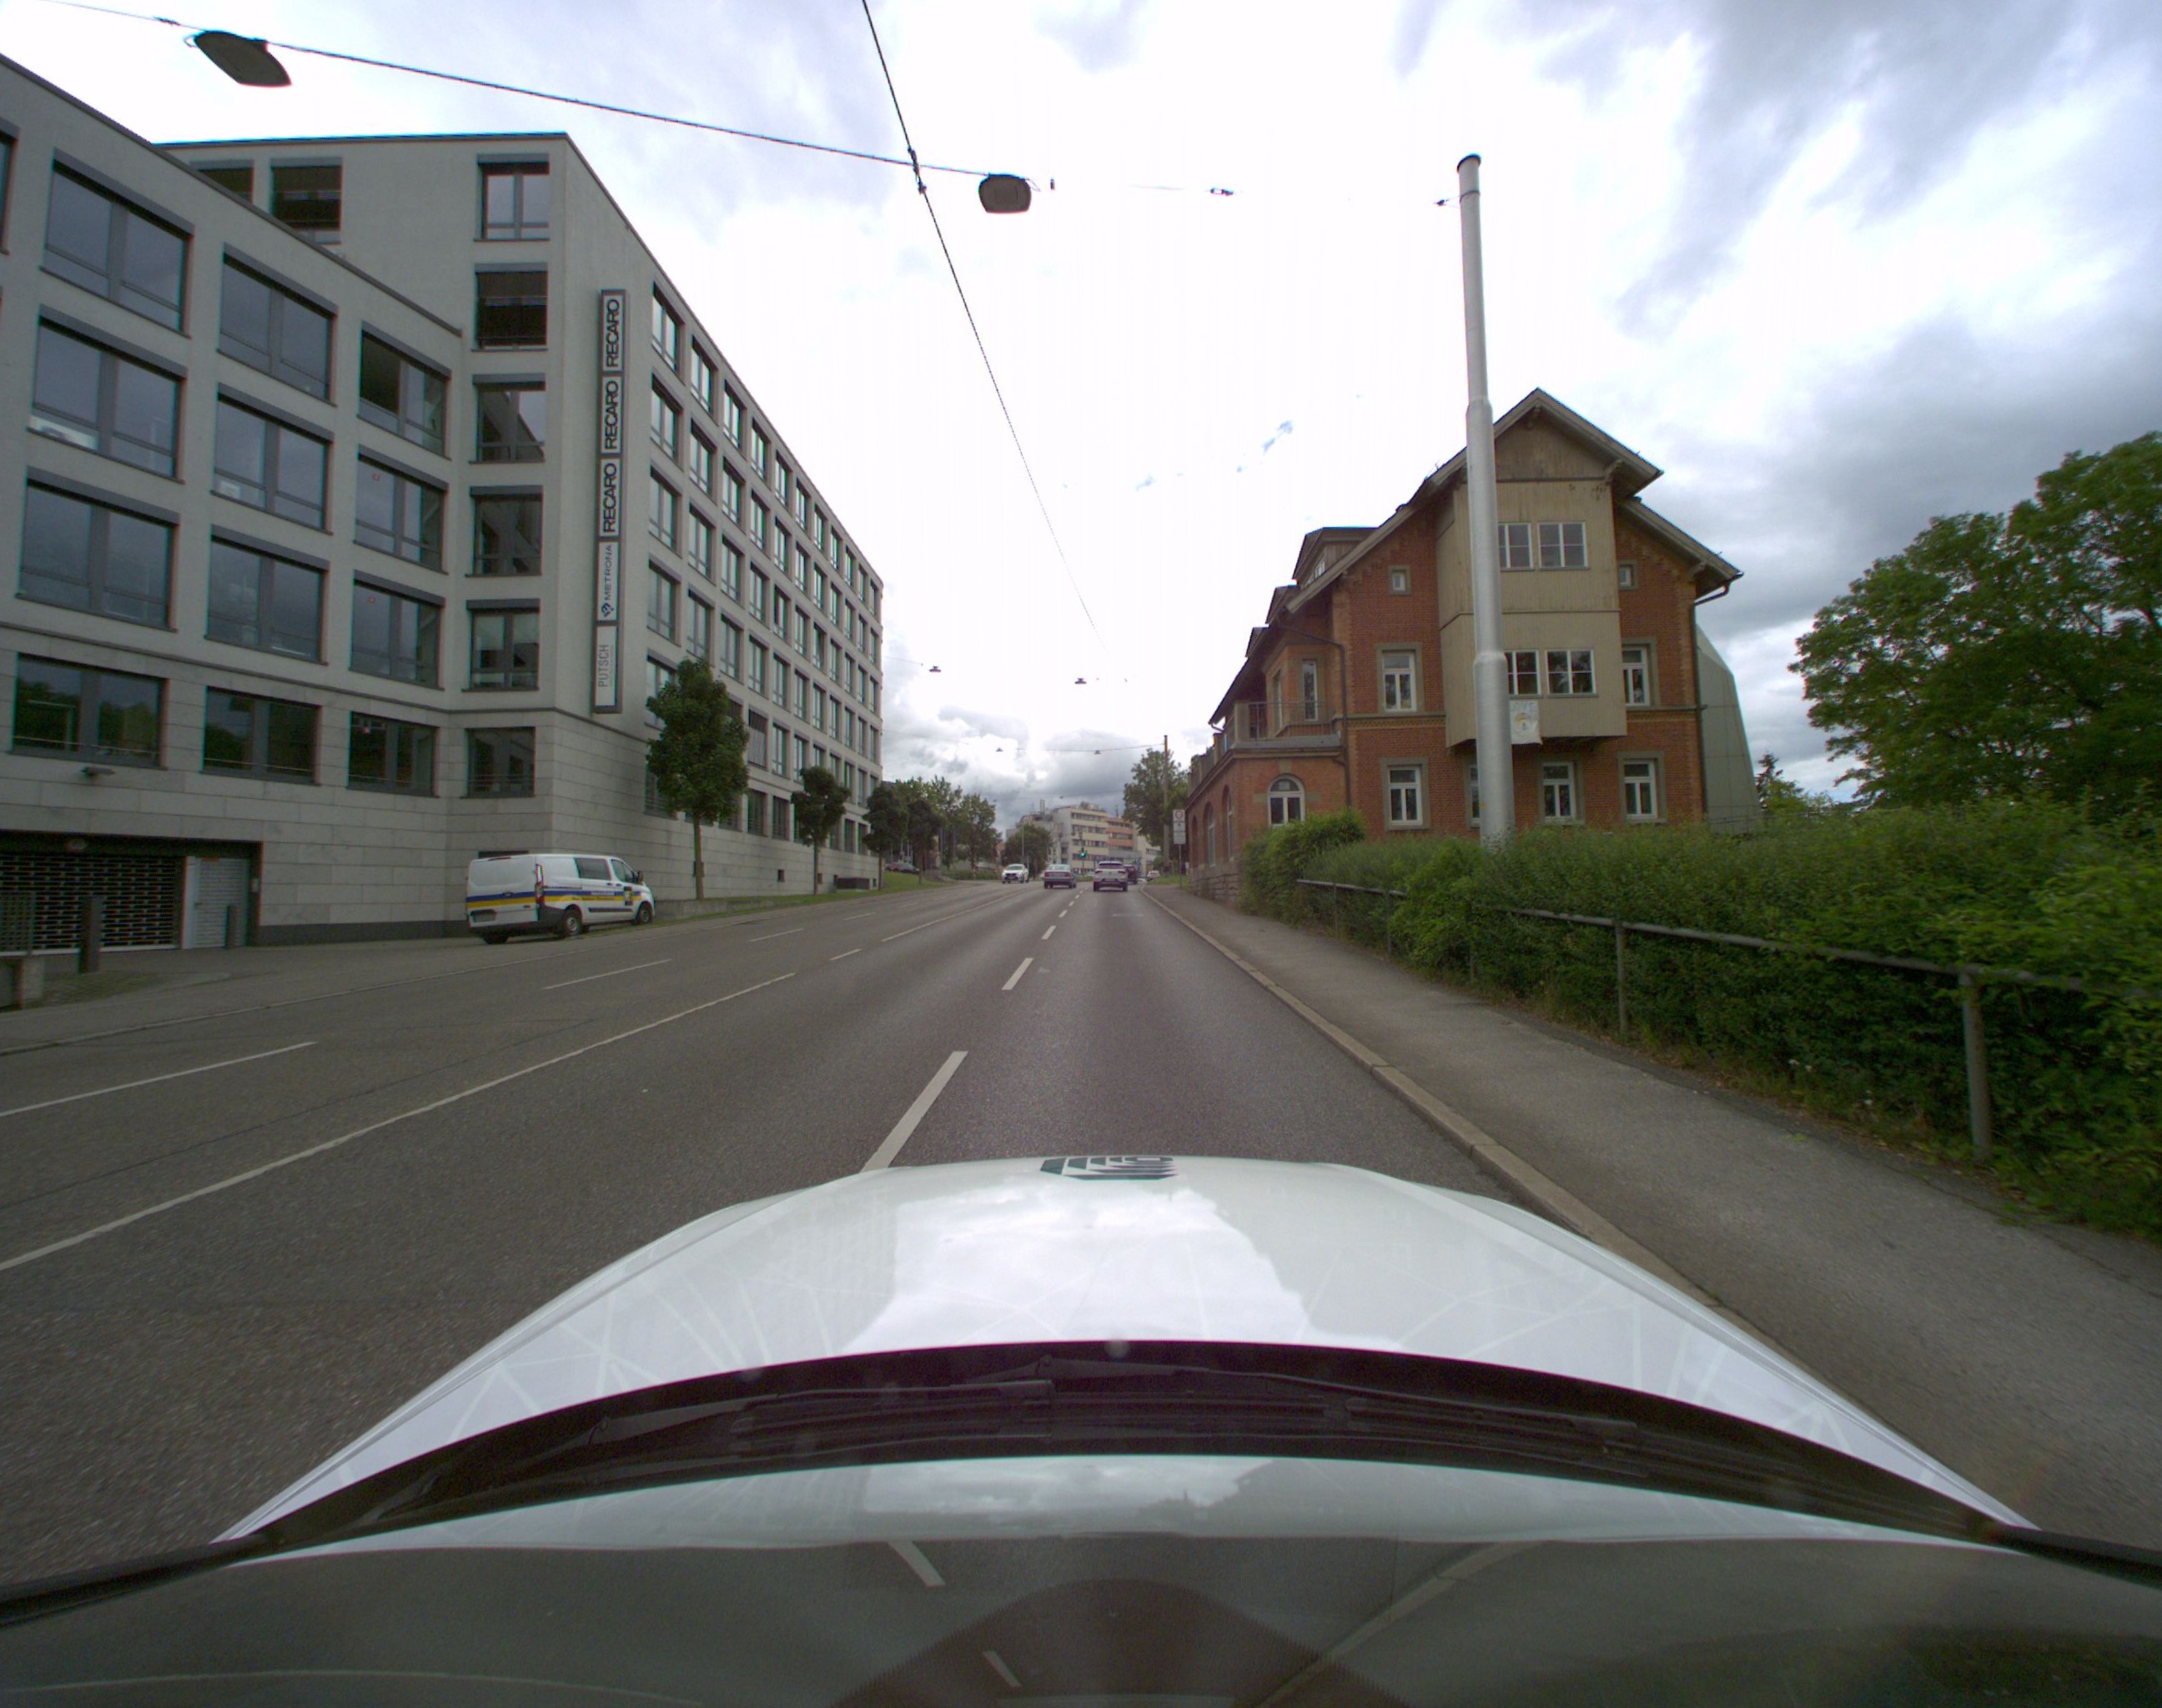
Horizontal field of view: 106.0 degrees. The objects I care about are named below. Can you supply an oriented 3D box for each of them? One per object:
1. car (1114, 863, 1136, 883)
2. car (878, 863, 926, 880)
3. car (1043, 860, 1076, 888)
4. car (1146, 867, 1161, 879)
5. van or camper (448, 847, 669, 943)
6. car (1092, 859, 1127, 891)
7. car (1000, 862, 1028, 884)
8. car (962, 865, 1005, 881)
[{"bbox_3d":[3.411,1.490,63.029,1.693,1.516,3.495,0,-2,3],"label":"car"},{"bbox_3d":[-16.368,1.549,74.629,1.759,1.463,4.467,1,0,27],"label":"car"},{"bbox_3d":[-1.225,1.159,47.476,1.693,1.516,3.737,-1,0,2],"label":"car"},{"bbox_3d":[9.443,2.458,105.644,1.761,1.571,4.292,-1,-1,6],"label":"car"},{"bbox_3d":[-12.575,0.919,20.113,2.052,1.968,4.876,-3,-1,3],"label":"van or camper"},{"bbox_3d":[1.507,1.080,43.237,1.693,1.548,3.737,2,0,2],"label":"car"},{"bbox_3d":[-5.944,1.665,72.982,1.862,1.789,4.656,-3,-1,2],"label":"car"},{"bbox_3d":[-9.707,1.886,81.094,4.023,1.544,1.759,1,-2,-45],"label":"car"}]
